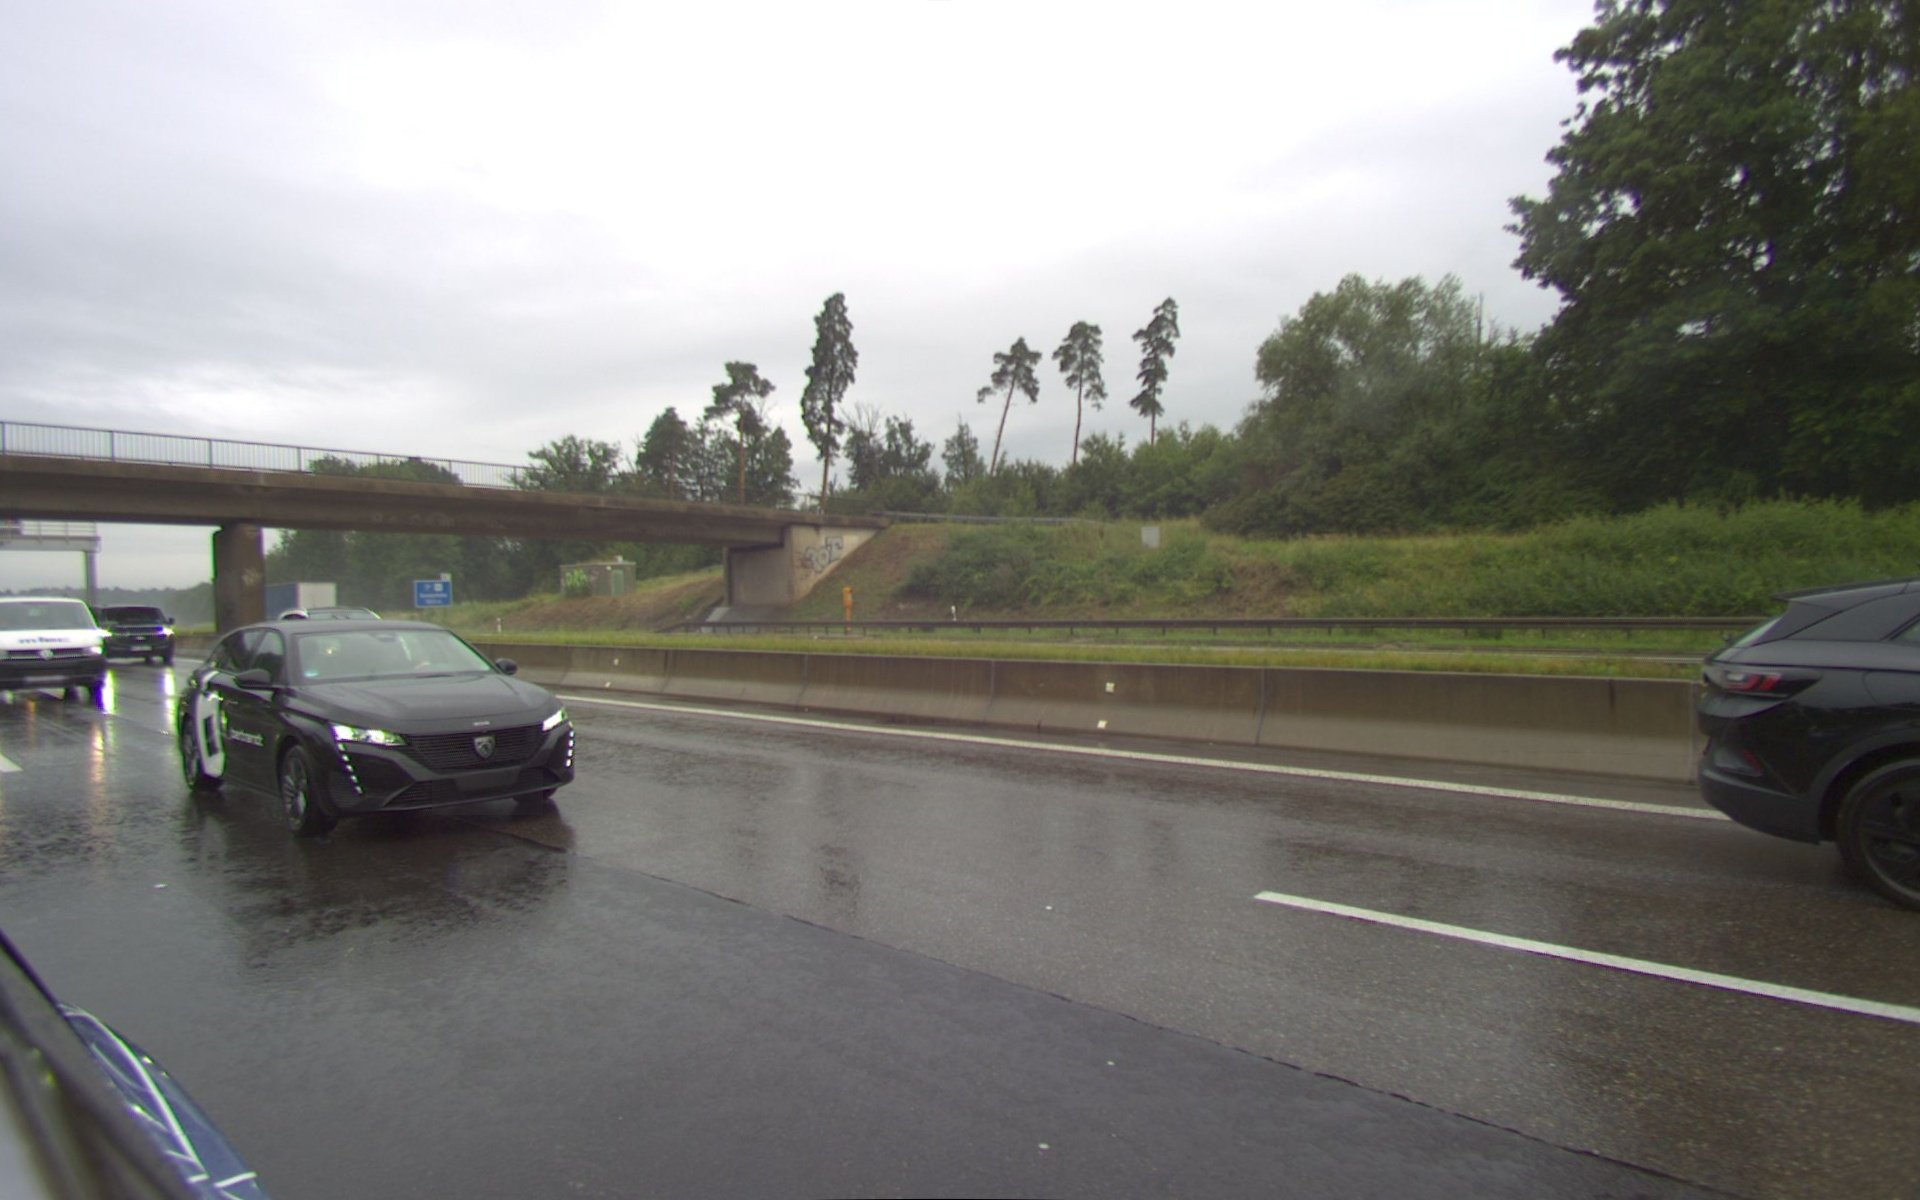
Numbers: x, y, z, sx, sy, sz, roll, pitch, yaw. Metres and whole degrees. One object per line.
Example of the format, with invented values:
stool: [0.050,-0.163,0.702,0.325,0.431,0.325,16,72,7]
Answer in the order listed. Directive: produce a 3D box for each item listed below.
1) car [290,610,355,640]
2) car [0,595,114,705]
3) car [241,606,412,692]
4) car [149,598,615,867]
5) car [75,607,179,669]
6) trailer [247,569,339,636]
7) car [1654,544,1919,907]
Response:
car: [-36.082,1.392,57.248,4.464,1.603,1.909,-1,0,41]
car: [-18.127,0.910,19.596,4.765,1.894,1.969,-1,0,41]
car: [-13.337,0.966,21.197,4.464,1.603,1.826,-1,0,41]
car: [-4.717,0.797,7.940,4.464,1.516,1.826,-1,0,41]
car: [-28.487,1.243,34.527,5.241,1.958,1.970,-1,0,42]
trailer: [-52.598,0.302,79.607,13.349,4.850,3.170,-1,0,44]
car: [5.790,0.521,4.328,4.464,1.603,1.826,-1,0,41]
